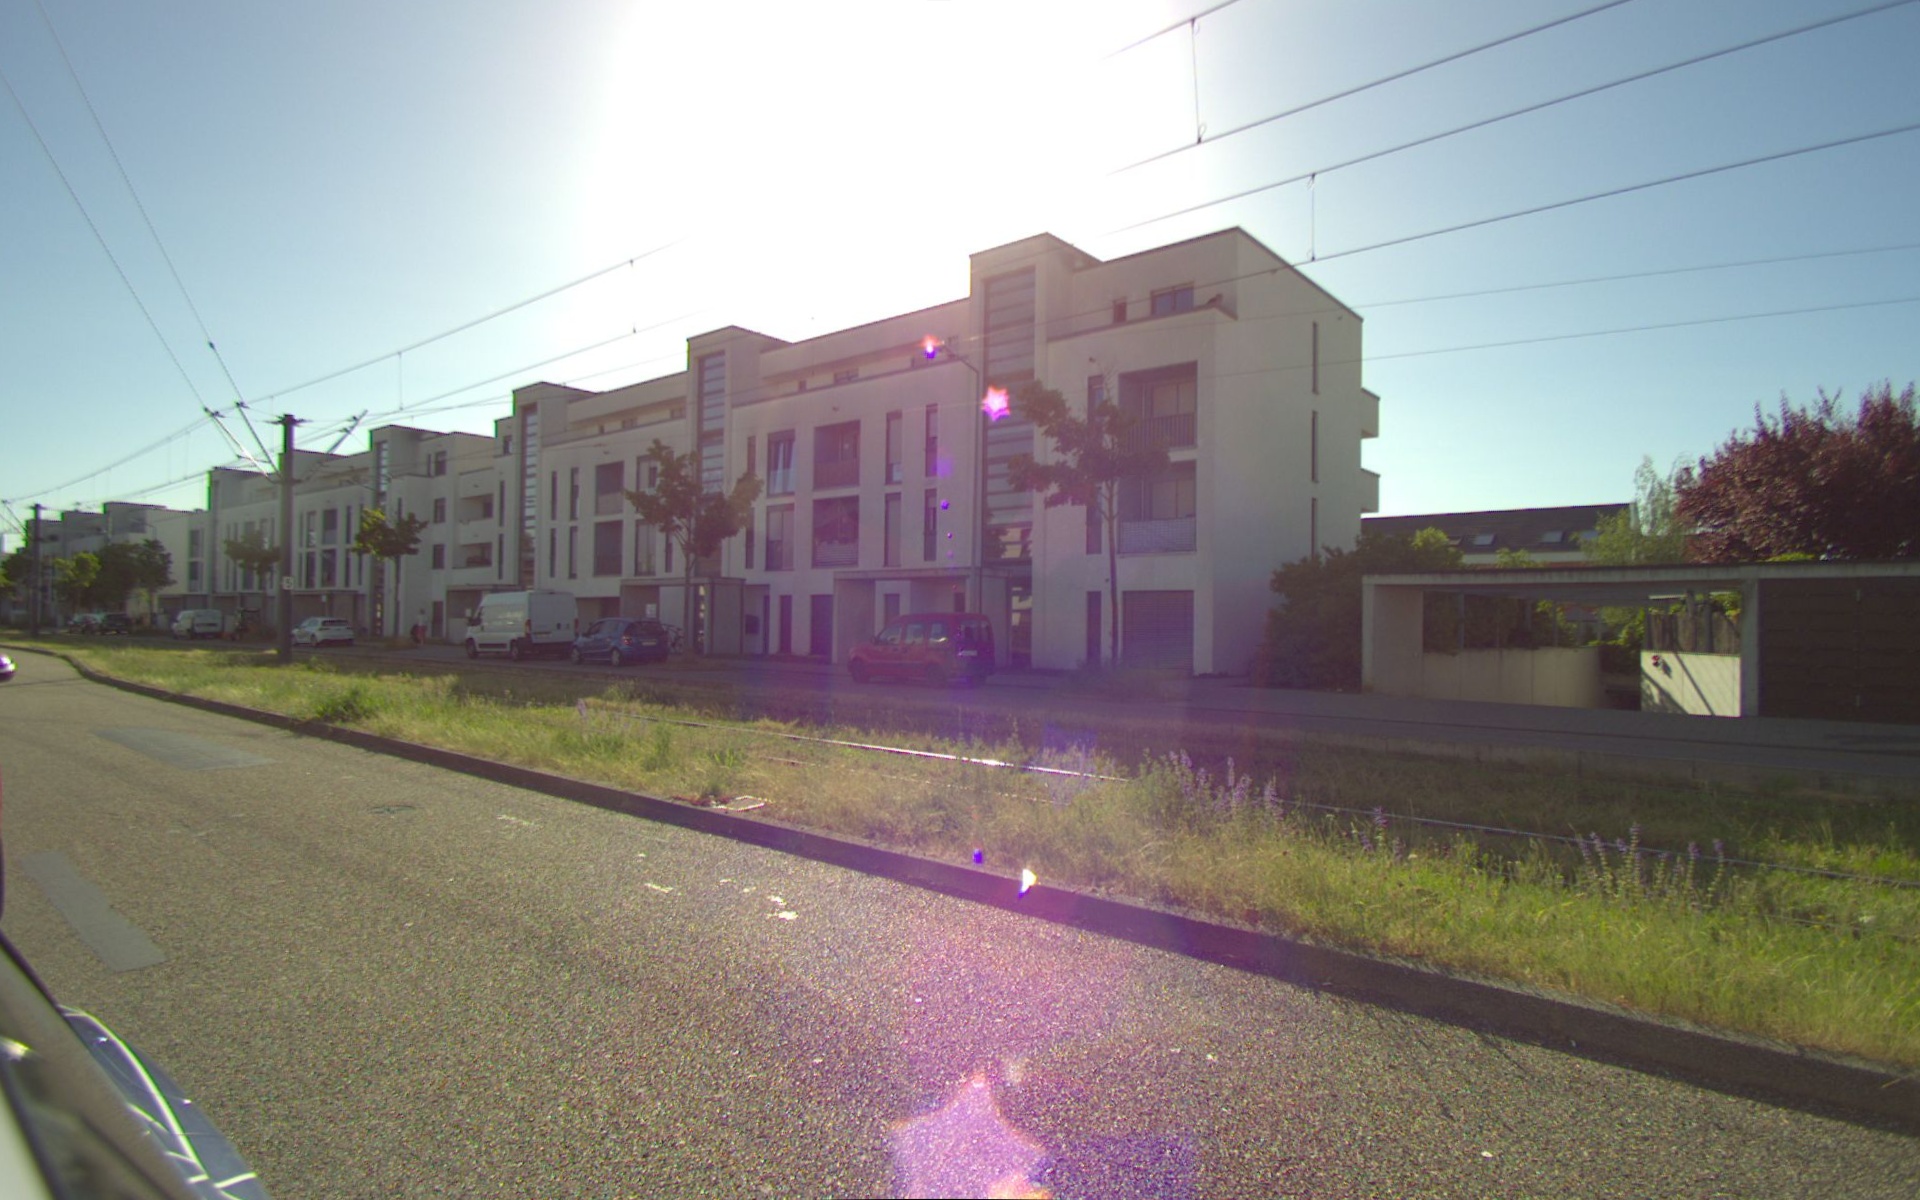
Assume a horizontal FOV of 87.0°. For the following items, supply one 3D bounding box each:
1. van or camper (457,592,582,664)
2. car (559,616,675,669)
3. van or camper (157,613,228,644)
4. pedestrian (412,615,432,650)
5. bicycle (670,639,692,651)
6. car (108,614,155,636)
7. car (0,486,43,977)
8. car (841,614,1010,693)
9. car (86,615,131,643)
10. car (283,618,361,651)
[{"bbox_3d":[-16.423,1.023,37.640,5.257,2.483,2.169,-1,-2,41],"label":"van or camper"},{"bbox_3d":[-11.298,1.375,33.234,3.834,1.625,1.909,-1,-2,41],"label":"car"},{"bbox_3d":[-48.862,1.755,64.396,6.281,1.862,2.244,-1,-1,40],"label":"van or camper"},{"bbox_3d":[-25.902,1.560,48.703,0.611,1.656,0.612,-1,0,34],"label":"pedestrian"},{"bbox_3d":[-11.691,1.889,42.418,1.060,0.502,0.349,-1,-3,40],"label":"bicycle"},{"bbox_3d":[-58.203,1.720,71.077,3.492,1.449,1.844,0,0,38],"label":"car"},{"bbox_3d":[-6.379,0.571,5.107,5.082,1.984,2.100,-1,0,42],"label":"car"},{"bbox_3d":[-0.873,1.233,24.323,3.907,1.736,1.770,-1,-3,42],"label":"car"},{"bbox_3d":[-63.649,2.125,75.618,3.994,2.029,1.766,-1,0,38],"label":"car"},{"bbox_3d":[-32.114,1.709,50.921,4.116,1.598,2.021,-1,-2,39],"label":"car"}]
